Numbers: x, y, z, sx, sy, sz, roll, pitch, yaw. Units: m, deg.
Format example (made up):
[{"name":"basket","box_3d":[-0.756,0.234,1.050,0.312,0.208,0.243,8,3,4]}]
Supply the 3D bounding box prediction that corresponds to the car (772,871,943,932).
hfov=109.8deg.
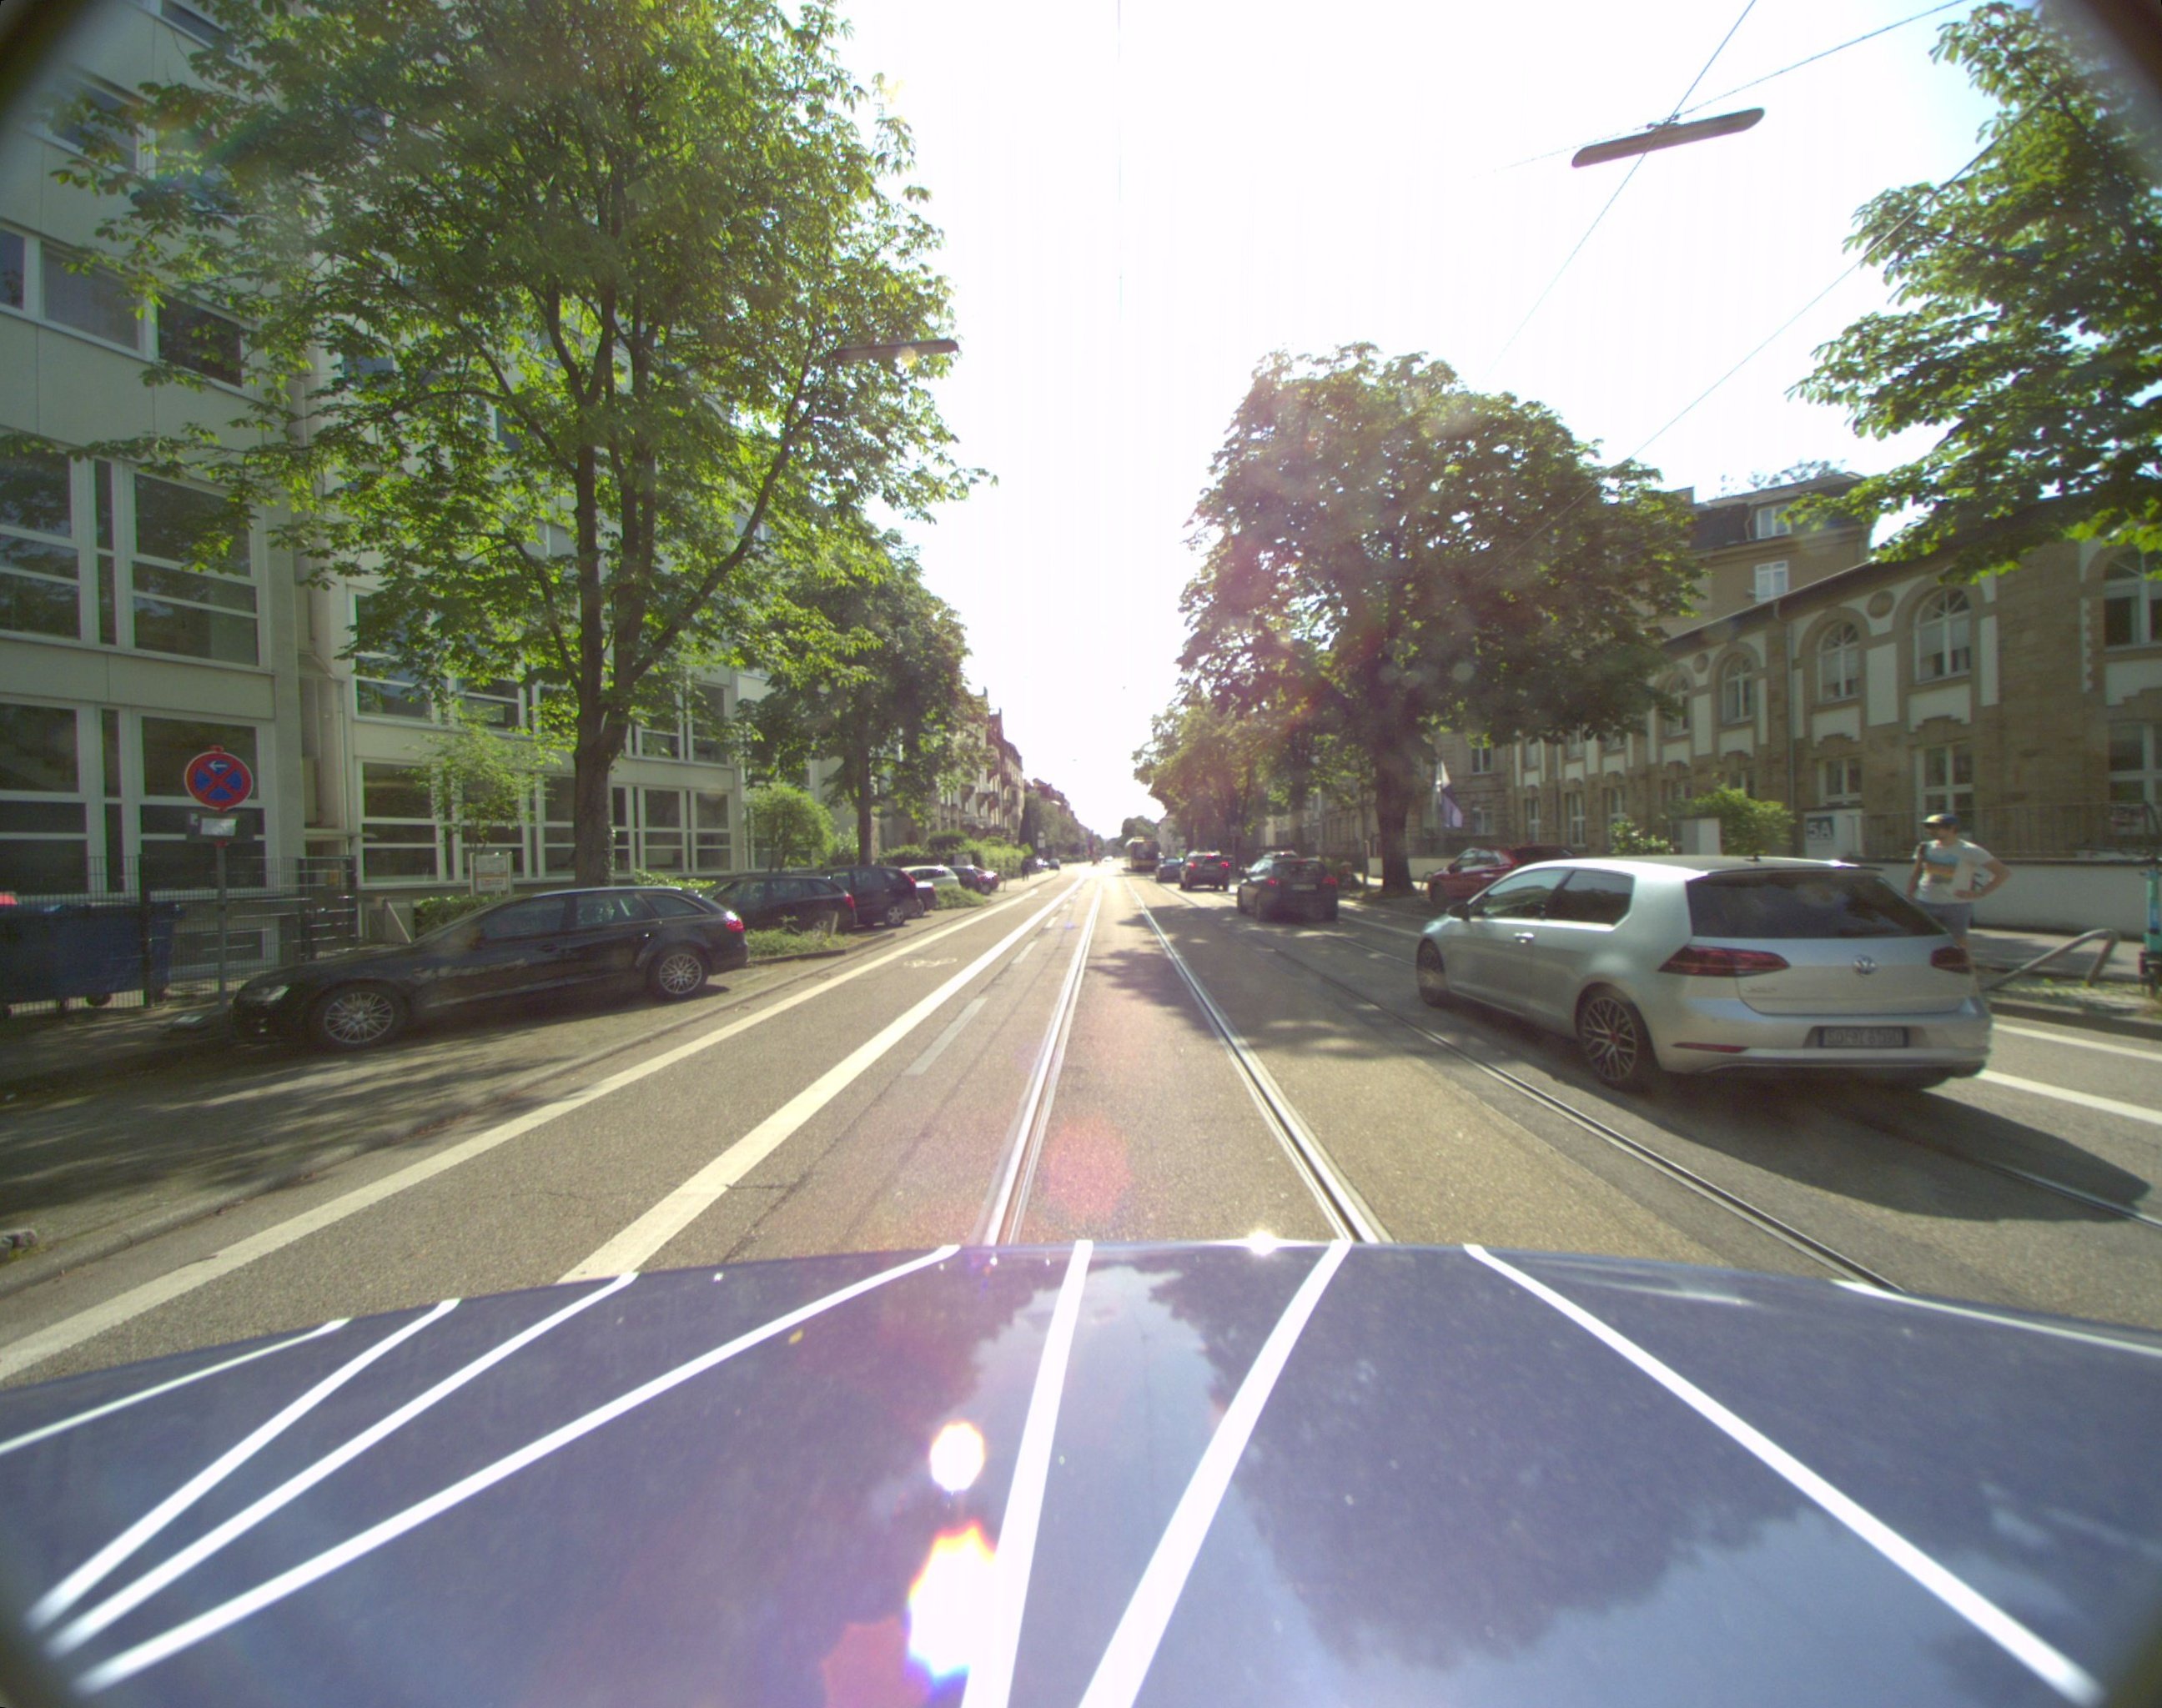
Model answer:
[{"name":"car","box_3d":[-6.263,1.283,21.580,4.183,1.341,1.900,-3,0,-43]}]

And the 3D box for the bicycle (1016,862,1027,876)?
[{"name":"bicycle","box_3d":[-4.470,1.089,56.924,0.614,0.983,1.872,1,1,2]}]

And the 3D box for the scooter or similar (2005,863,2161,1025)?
[{"name":"scooter or similar","box_3d":[9.514,0.766,6.828,1.342,1.272,0.855,-3,1,1]}]

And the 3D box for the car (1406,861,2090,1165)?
[{"name":"car","box_3d":[4.094,0.804,5.658,1.777,1.408,3.852,-1,1,2]}]

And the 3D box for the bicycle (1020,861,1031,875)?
[{"name":"bicycle","box_3d":[-4.313,1.090,59.320,0.612,0.990,2.362,1,1,2]}]

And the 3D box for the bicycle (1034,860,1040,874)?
[{"name":"bicycle","box_3d":[-4.121,1.189,70.602,0.452,1.253,1.844,1,0,-1]}]

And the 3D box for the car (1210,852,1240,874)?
[{"name":"car","box_3d":[11.158,0.673,59.083,1.658,1.476,3.808,-3,1,1]}]

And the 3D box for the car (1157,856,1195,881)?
[{"name":"car","box_3d":[5.466,0.798,44.053,1.803,1.380,4.426,0,0,2]}]

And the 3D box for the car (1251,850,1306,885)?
[{"name":"car","box_3d":[10.503,0.666,40.670,1.811,1.631,4.332,-3,0,1]}]

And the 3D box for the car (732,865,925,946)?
[{"name":"car","box_3d":[-6.123,1.174,18.634,4.007,1.565,1.900,-3,0,-40]}]

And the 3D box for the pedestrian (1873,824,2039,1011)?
[{"name":"pedestrian","box_3d":[8.818,0.604,7.688,0.790,1.756,0.752,-3,1,-7]}]

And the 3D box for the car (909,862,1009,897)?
[{"name":"car","box_3d":[-5.545,1.124,34.842,4.168,1.415,1.861,-1,0,-40]}]

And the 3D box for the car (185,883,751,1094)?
[{"name":"car","box_3d":[-6.531,1.228,8.696,4.544,1.434,2.026,-4,1,-43]}]

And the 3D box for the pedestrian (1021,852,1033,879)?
[{"name":"pedestrian","box_3d":[-3.748,0.784,52.861,0.790,1.851,0.580,1,1,-6]}]

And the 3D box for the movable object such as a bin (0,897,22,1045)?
[{"name":"movable object such as a bin","box_3d":[-11.957,1.255,7.352,1.278,1.530,1.469,-2,1,2]}]

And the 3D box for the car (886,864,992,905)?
[{"name":"car","box_3d":[-5.879,1.219,31.678,4.007,1.440,1.695,-2,0,-40]}]

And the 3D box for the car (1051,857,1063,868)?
[{"name":"car","box_3d":[-3.262,1.126,103.554,1.517,1.490,2.794,1,0,0]}]

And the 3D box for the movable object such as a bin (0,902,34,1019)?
[{"name":"movable object such as a bin","box_3d":[-14.478,1.374,9.551,1.376,1.439,1.266,0,1,23]}]

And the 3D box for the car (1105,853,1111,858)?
[{"name":"car","box_3d":[8.210,0.409,229.605,1.860,1.455,4.000,-2,0,2]}]

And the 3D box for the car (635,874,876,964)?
[{"name":"car","box_3d":[-6.429,1.209,15.270,4.084,1.434,1.722,-1,-2,-42]}]

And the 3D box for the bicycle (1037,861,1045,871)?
[{"name":"bicycle","box_3d":[-3.977,1.212,75.508,0.600,0.955,3.066,2,0,-1]}]

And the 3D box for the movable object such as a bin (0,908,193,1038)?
[{"name":"movable object such as a bin","box_3d":[-12.021,1.377,9.039,1.278,1.311,1.326,-2,1,2]}]

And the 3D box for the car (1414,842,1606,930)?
[{"name":"car","box_3d":[9.550,0.613,17.451,1.754,1.656,4.720,-3,0,1]}]

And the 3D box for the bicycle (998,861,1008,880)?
[{"name":"bicycle","box_3d":[-4.930,1.047,48.106,0.280,1.102,2.011,2,1,2]}]

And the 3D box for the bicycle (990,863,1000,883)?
[{"name":"bicycle","box_3d":[-5.040,1.078,44.589,0.280,1.102,2.011,2,1,2]}]

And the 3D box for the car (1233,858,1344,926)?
[{"name":"car","box_3d":[4.804,0.816,18.116,1.727,1.368,4.001,-1,0,3]}]

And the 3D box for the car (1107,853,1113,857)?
[{"name":"car","box_3d":[9.348,0.339,245.149,1.860,1.455,4.000,-2,0,2]}]

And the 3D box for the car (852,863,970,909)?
[{"name":"car","box_3d":[-6.279,1.135,28.299,4.008,1.452,1.531,-2,0,-43]}]

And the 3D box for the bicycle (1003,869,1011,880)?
[{"name":"bicycle","box_3d":[-4.866,1.341,50.021,0.280,0.673,1.559,2,1,2]}]

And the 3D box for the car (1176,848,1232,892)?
[{"name":"car","box_3d":[5.352,0.662,33.614,1.830,1.717,4.392,-3,0,2]}]
